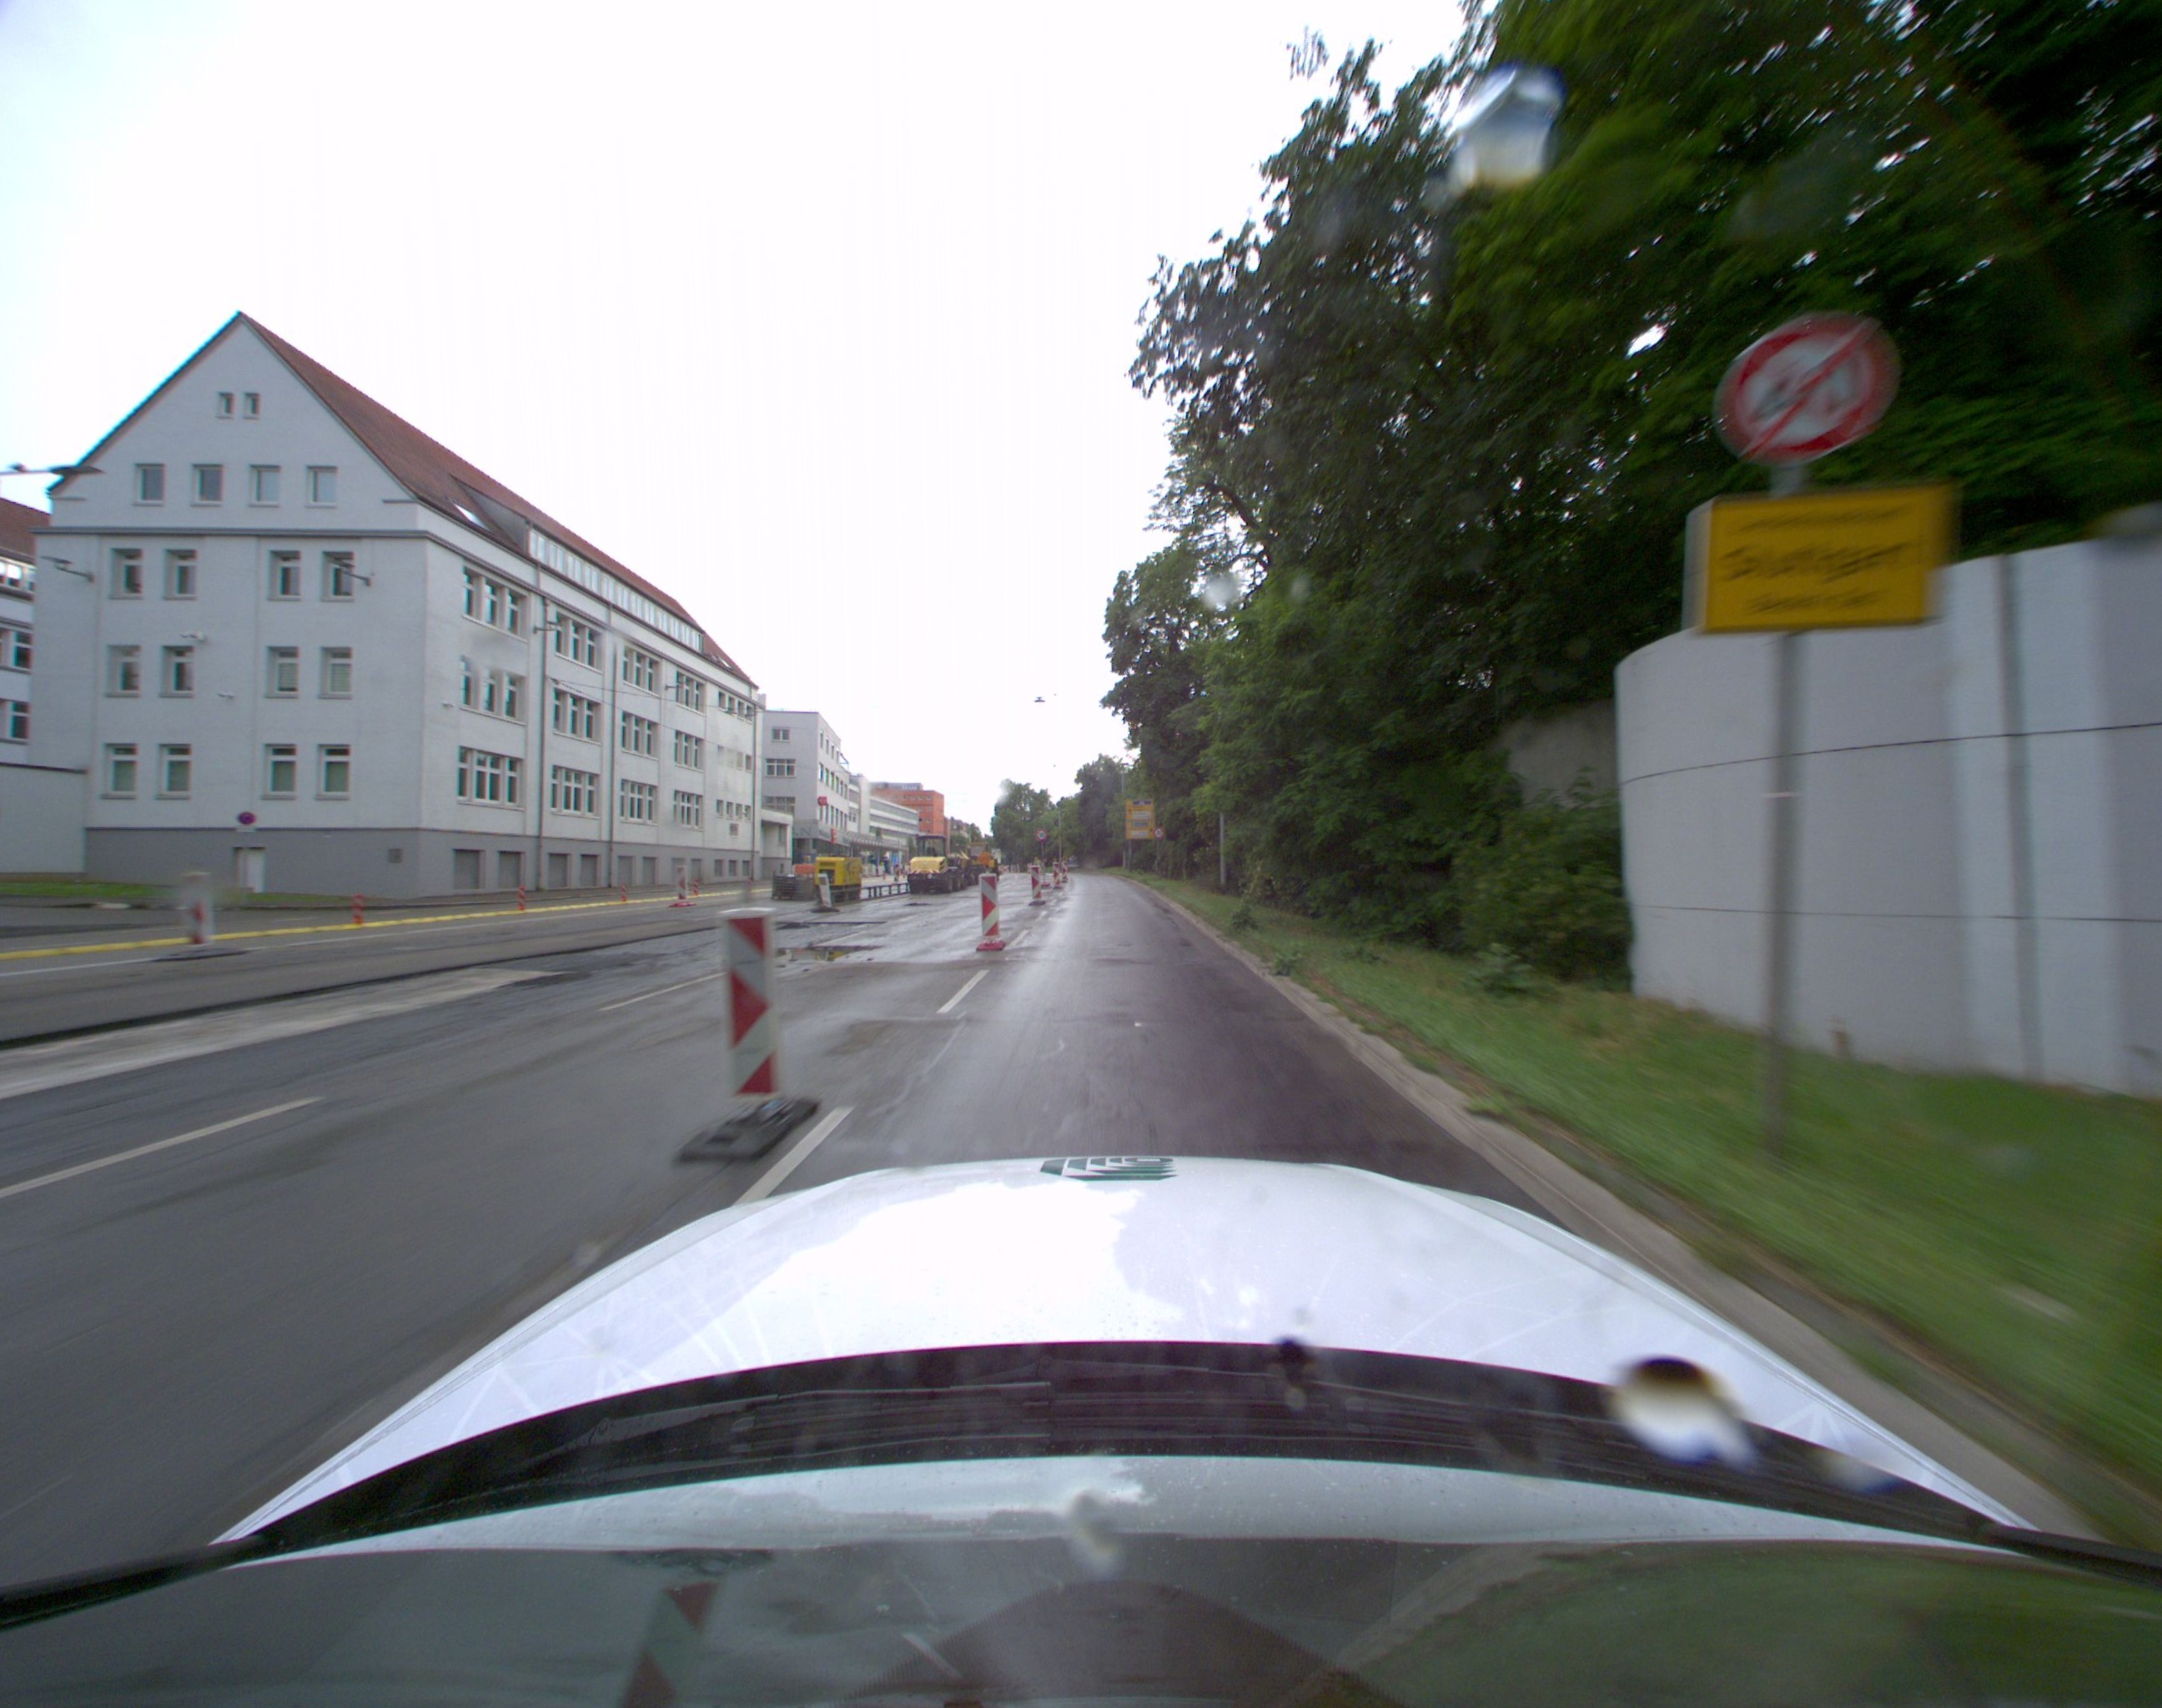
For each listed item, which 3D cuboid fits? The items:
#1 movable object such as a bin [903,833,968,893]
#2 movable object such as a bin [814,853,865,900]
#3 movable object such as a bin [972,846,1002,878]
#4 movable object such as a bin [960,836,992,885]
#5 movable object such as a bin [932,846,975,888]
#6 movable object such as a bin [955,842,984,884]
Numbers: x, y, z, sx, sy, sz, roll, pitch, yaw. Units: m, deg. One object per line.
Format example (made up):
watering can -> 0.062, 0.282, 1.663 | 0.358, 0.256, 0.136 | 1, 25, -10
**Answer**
movable object such as a bin -> -6.754, 0.403, 38.347 | 1.895, 2.609, 5.384 | -1, 0, 2
movable object such as a bin -> -8.813, 0.799, 29.797 | 1.079, 1.644, 2.439 | 0, -1, 1
movable object such as a bin -> -6.584, 0.549, 57.127 | 1.711, 2.150, 3.347 | -2, -1, -2
movable object such as a bin -> -6.712, 0.425, 52.503 | 1.461, 3.008, 3.724 | -2, -1, 0
movable object such as a bin -> -6.785, 0.684, 43.662 | 1.357, 2.090, 5.031 | -1, 0, 2
movable object such as a bin -> -6.695, 0.536, 49.122 | 1.407, 2.401, 2.404 | -2, -1, -1
